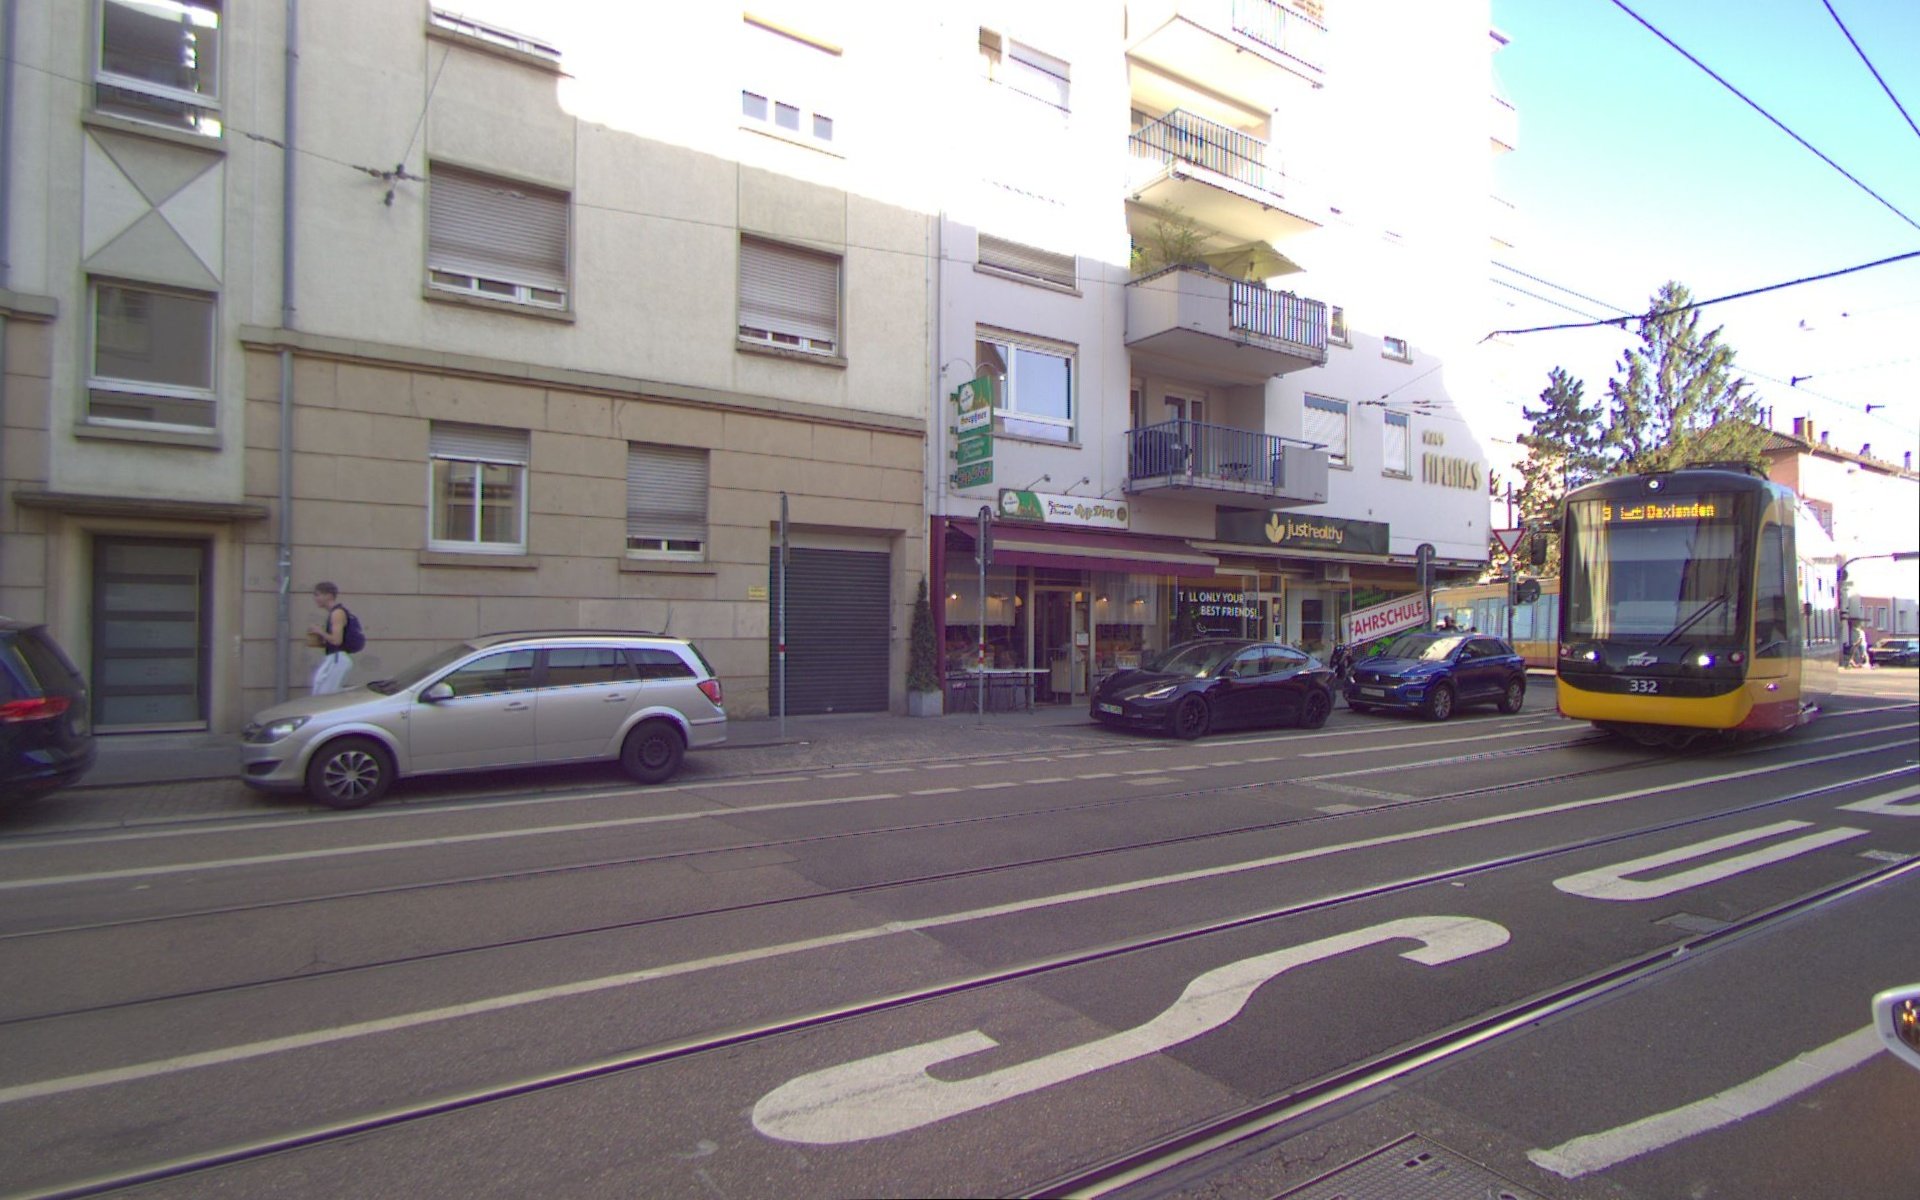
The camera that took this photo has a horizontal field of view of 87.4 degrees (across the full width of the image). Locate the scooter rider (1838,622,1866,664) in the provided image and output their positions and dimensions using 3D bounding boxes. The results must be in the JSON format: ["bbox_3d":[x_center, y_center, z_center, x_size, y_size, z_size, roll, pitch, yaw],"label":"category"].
[{"bbox_3d":[39.854,1.923,44.887,0.710,1.856,0.717,1,-1,18],"label":"scooter rider"}]

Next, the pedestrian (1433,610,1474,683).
[{"bbox_3d":[14.011,1.307,28.503,0.688,2.040,0.764,2,0,-35],"label":"pedestrian"}]

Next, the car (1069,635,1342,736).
[{"bbox_3d":[3.992,1.275,16.094,4.382,1.405,1.810,1,-2,-34],"label":"car"}]

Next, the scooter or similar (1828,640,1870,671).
[{"bbox_3d":[39.719,2.472,44.896,1.327,1.286,0.444,2,-2,18],"label":"scooter or similar"}]

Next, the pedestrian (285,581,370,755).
[{"bbox_3d":[-6.995,0.733,11.139,0.725,1.857,0.595,2,0,-30],"label":"pedestrian"}]

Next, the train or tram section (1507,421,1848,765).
[{"bbox_3d":[12.245,0.133,16.300,3.029,3.641,12.561,-1,-2,42],"label":"train or tram section"}]

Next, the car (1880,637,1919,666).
[{"bbox_3d":[53.548,2.891,56.222,4.250,1.518,1.806,2,0,-30],"label":"car"}]

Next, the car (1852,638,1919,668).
[{"bbox_3d":[49.575,2.829,53.663,3.949,1.440,1.784,2,0,-31],"label":"car"}]

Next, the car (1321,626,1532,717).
[{"bbox_3d":[8.922,1.285,19.128,4.030,1.552,1.858,1,-2,-34],"label":"car"}]

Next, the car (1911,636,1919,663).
[{"bbox_3d":[58.149,2.957,59.352,4.103,1.531,1.778,2,0,-31],"label":"car"}]

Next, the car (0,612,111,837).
[{"bbox_3d":[-9.028,0.886,7.214,4.249,1.606,1.893,2,0,-35],"label":"car"}]

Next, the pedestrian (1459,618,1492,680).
[{"bbox_3d":[15.570,1.476,30.326,0.691,1.829,0.568,2,0,-30],"label":"pedestrian"}]

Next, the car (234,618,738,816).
[{"bbox_3d":[-4.707,1.037,10.308,4.319,1.580,1.981,2,0,-34],"label":"car"}]
